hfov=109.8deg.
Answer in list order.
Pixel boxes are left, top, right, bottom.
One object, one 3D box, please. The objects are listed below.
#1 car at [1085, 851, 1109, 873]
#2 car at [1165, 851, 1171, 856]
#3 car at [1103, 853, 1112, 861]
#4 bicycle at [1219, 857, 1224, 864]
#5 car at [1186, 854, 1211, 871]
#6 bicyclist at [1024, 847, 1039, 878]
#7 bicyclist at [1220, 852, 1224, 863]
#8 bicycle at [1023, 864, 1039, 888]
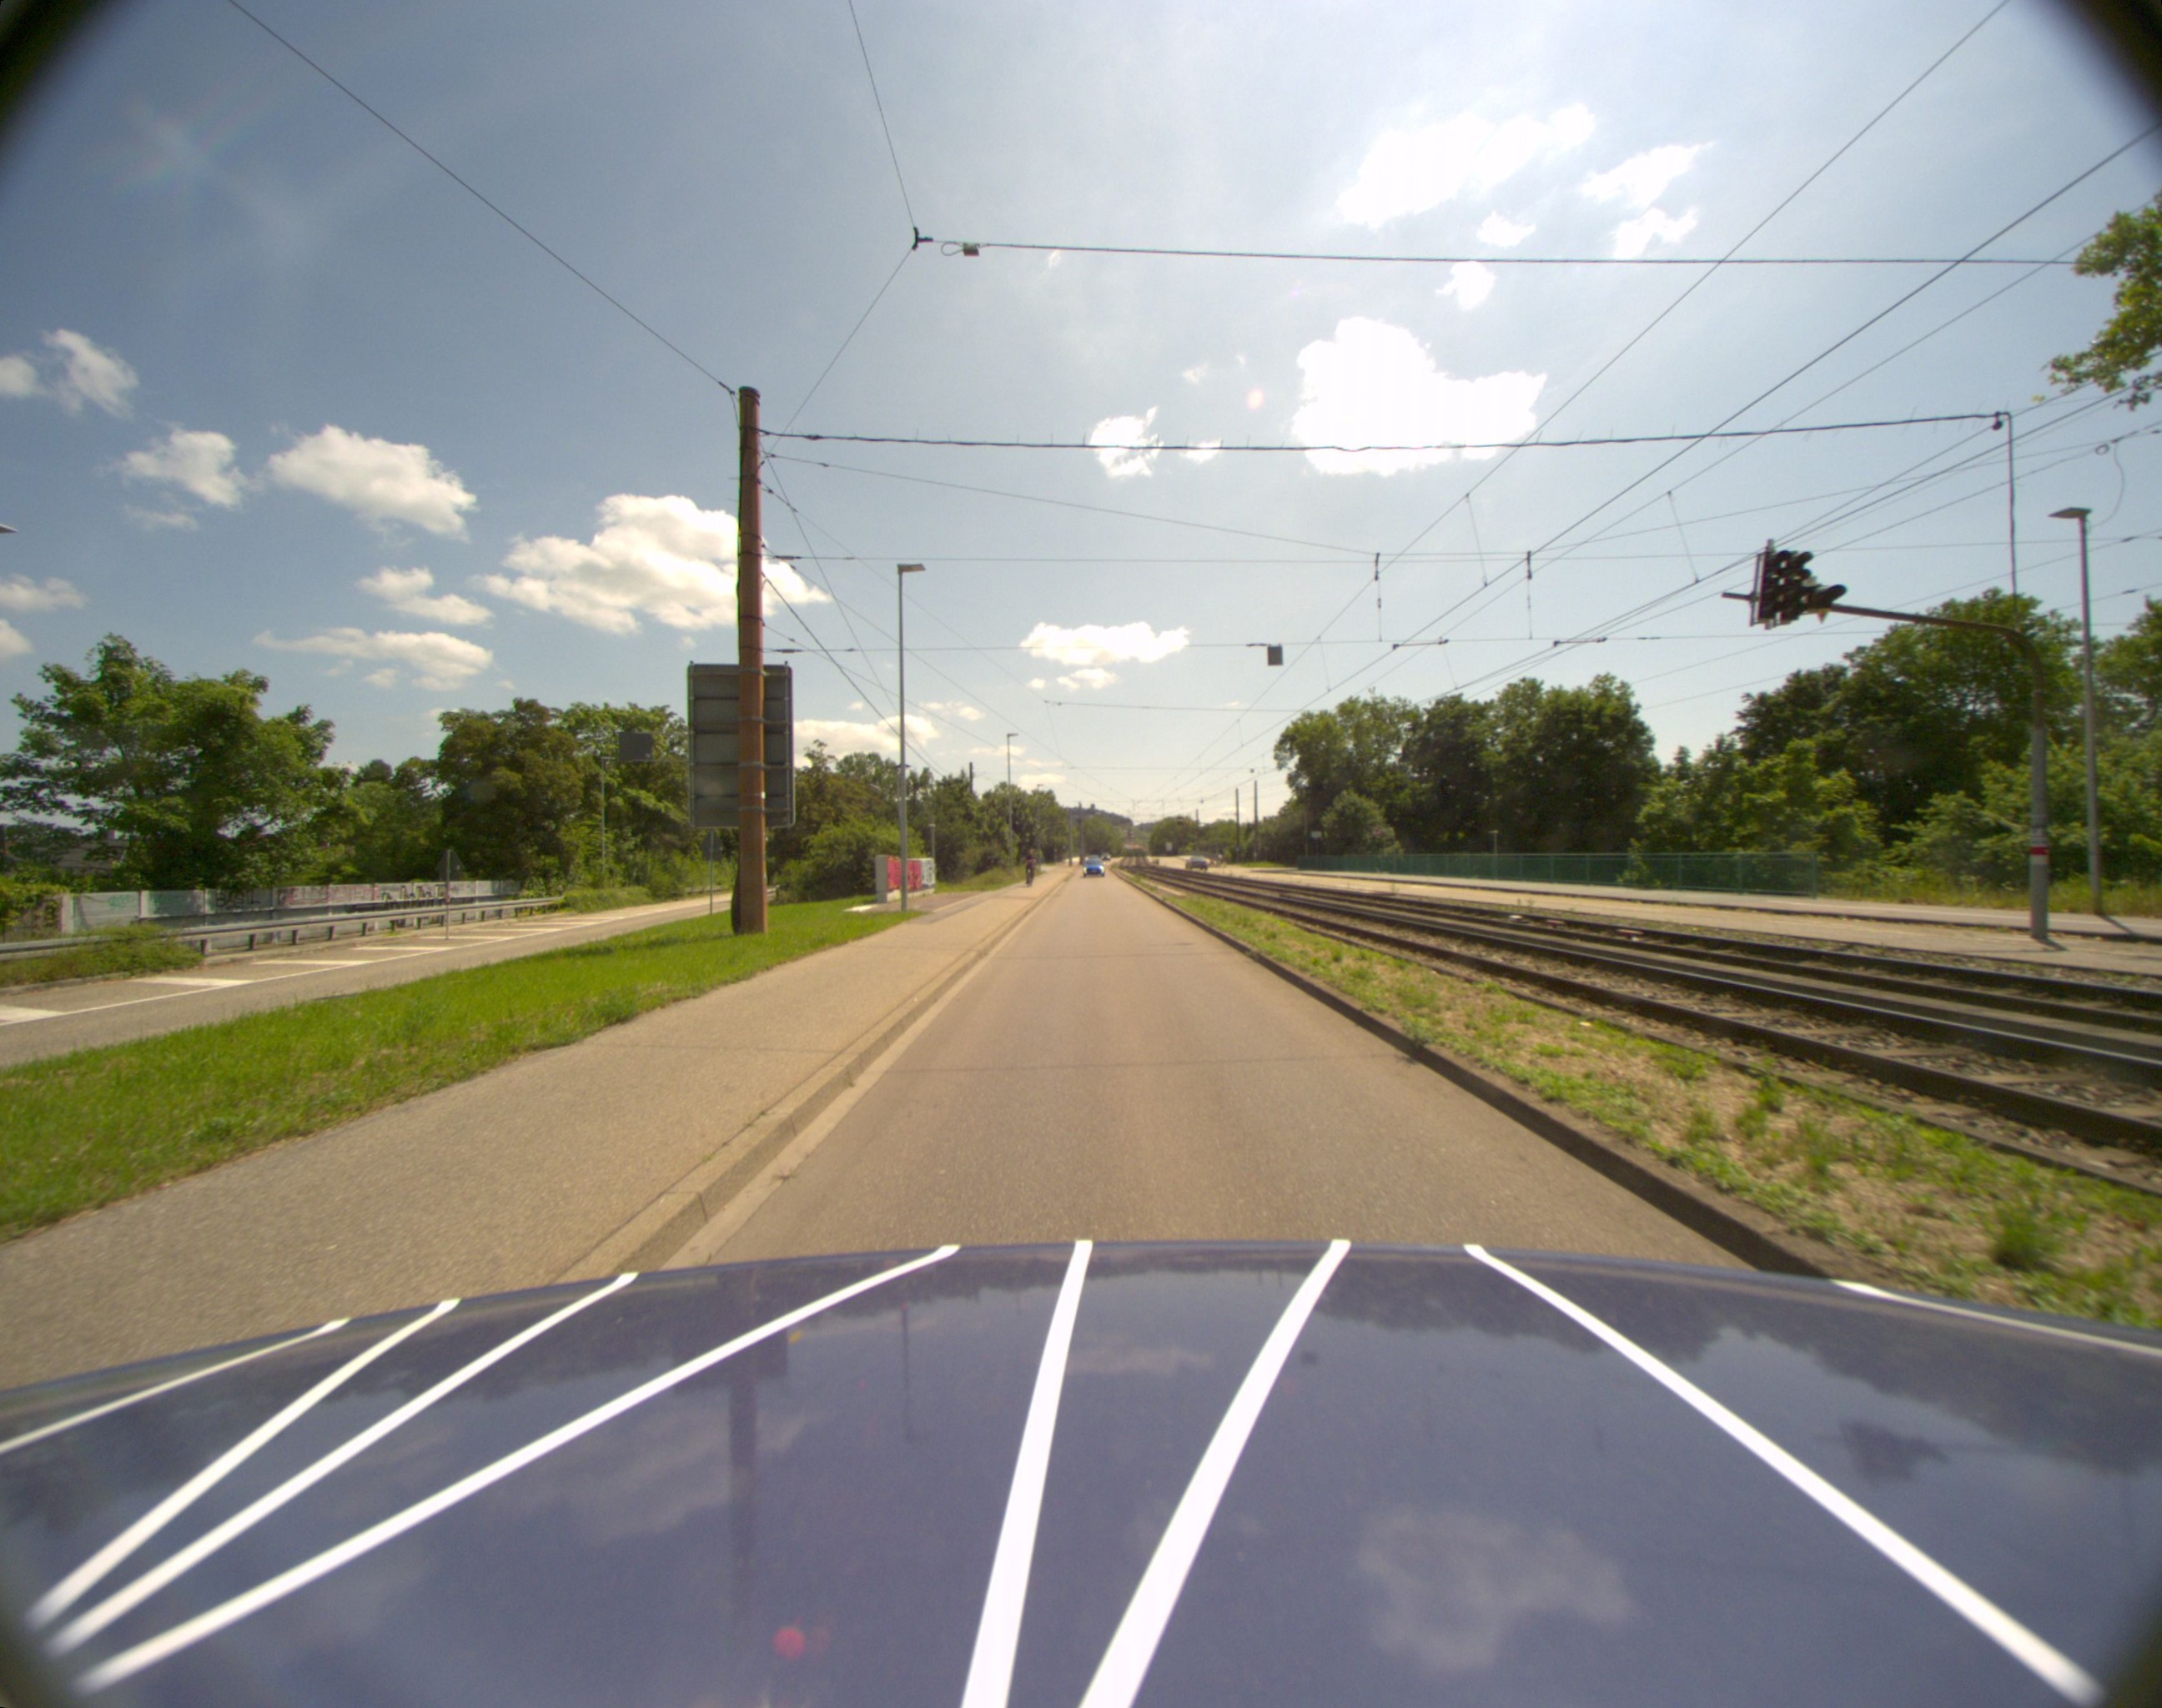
[{"bbox_3d":[1.261,0.643,60.957,1.865,1.630,4.001,-2,-1,0],"label":"car"},{"bbox_3d":[26.698,-0.259,233.920,1.708,1.501,3.734,0,0,5],"label":"car"},{"bbox_3d":[5.619,0.602,162.140,1.730,1.696,4.001,-2,0,4],"label":"car"},{"bbox_3d":[19.700,0.925,106.354,0.470,0.863,1.743,-1,0,3],"label":"bicycle"},{"bbox_3d":[12.960,0.937,84.111,1.880,1.710,5.330,-1,0,0],"label":"car"},{"bbox_3d":[-2.423,0.419,37.300,0.586,1.486,0.558,-2,-1,5],"label":"bicyclist"},{"bbox_3d":[19.665,0.504,106.143,0.457,1.465,0.633,-1,1,3],"label":"bicyclist"},{"bbox_3d":[-2.418,1.068,36.997,0.433,1.145,1.856,-2,-1,6],"label":"bicycle"}]
